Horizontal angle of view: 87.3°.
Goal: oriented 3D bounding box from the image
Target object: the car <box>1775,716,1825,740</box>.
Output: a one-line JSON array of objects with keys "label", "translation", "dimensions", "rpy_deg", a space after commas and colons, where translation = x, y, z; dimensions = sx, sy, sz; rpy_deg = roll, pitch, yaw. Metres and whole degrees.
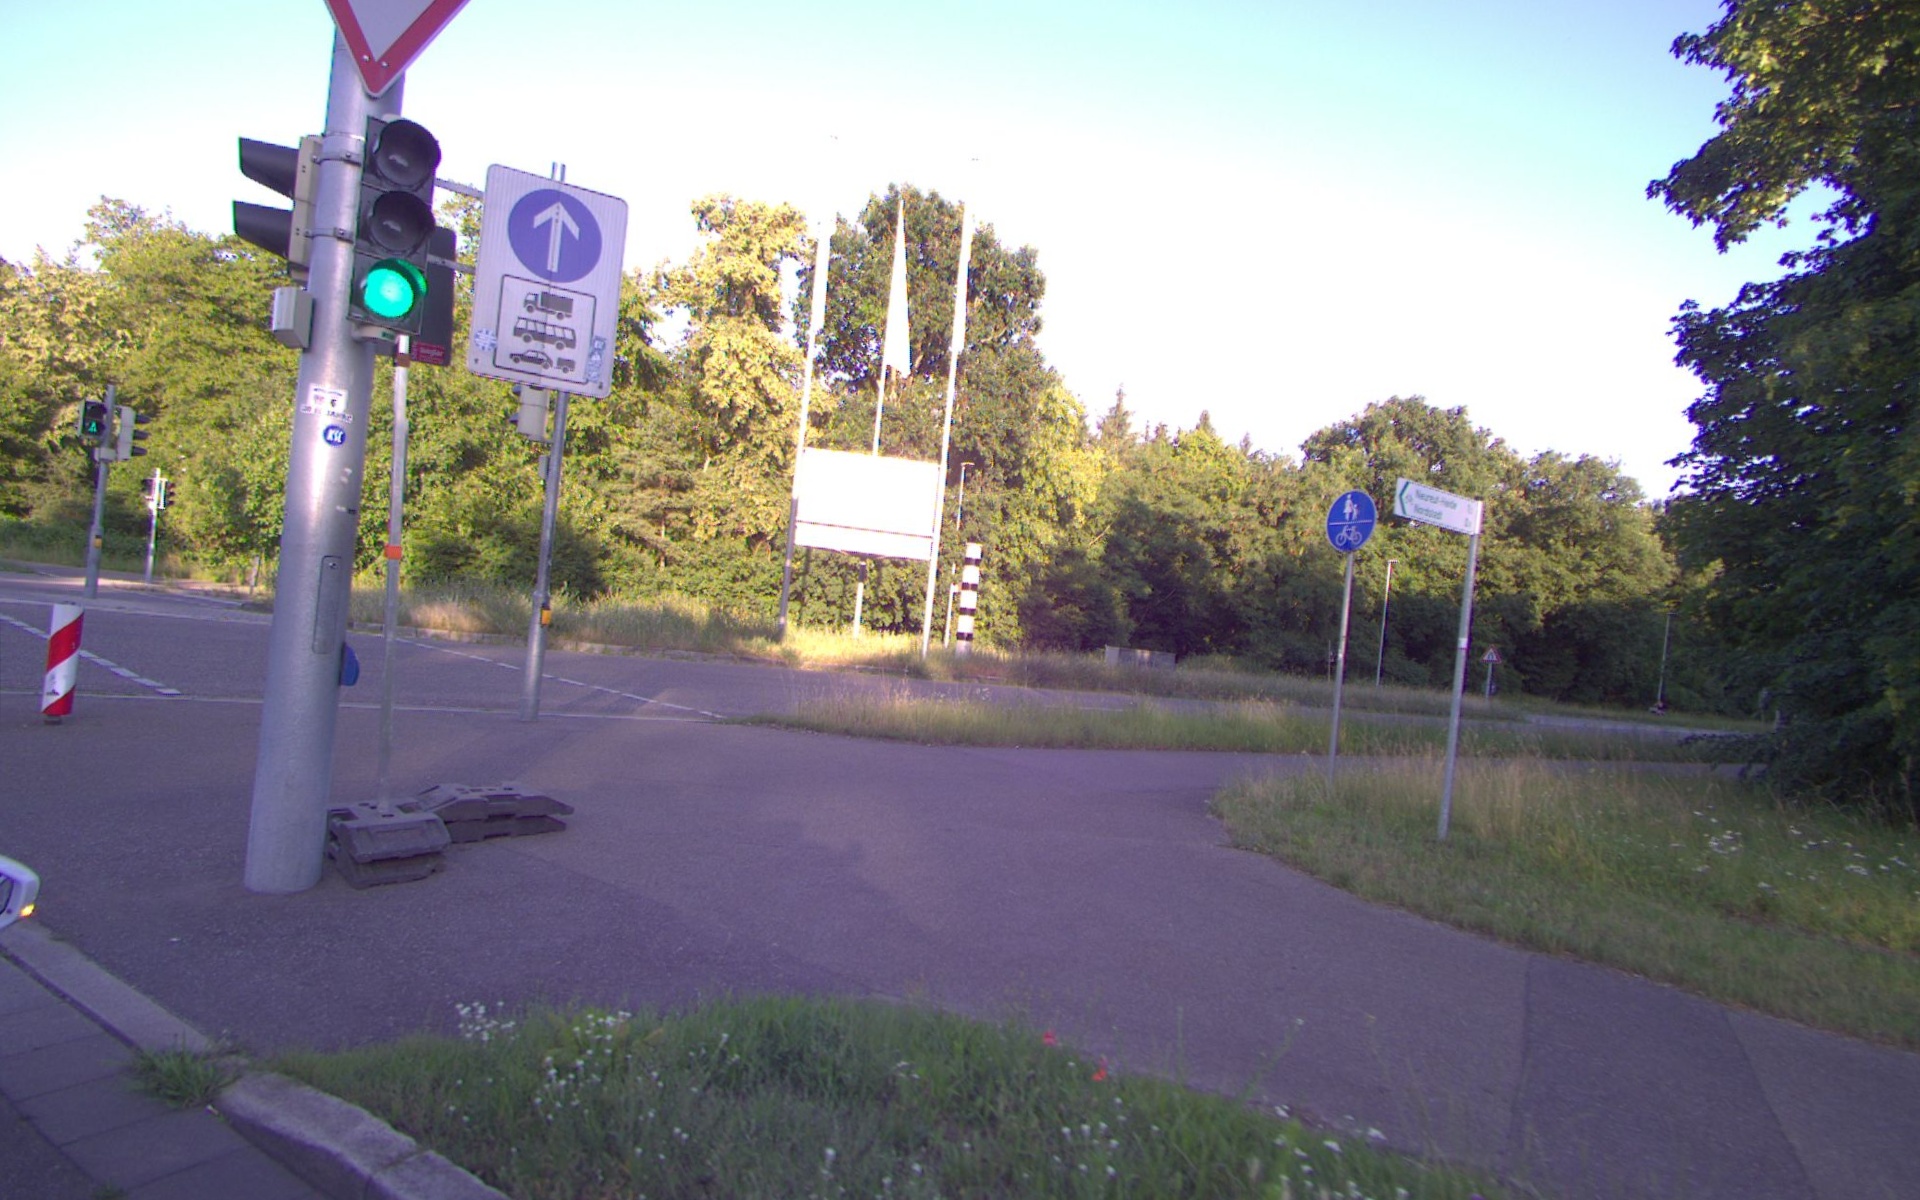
[{"label": "car", "translation": [66.373, 10.141, 79.478], "dimensions": [4.411, 1.551, 1.811], "rpy_deg": [7, -3, -33]}]

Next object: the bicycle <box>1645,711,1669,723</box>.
[{"label": "bicycle", "translation": [55.572, 9.318, 80.191], "dimensions": [1.931, 0.814, 0.585], "rpy_deg": [7, -1, -21]}]

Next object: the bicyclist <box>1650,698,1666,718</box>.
[{"label": "bicyclist", "translation": [55.633, 8.591, 80.173], "dimensions": [0.811, 1.447, 0.585], "rpy_deg": [6, -1, -21]}]
